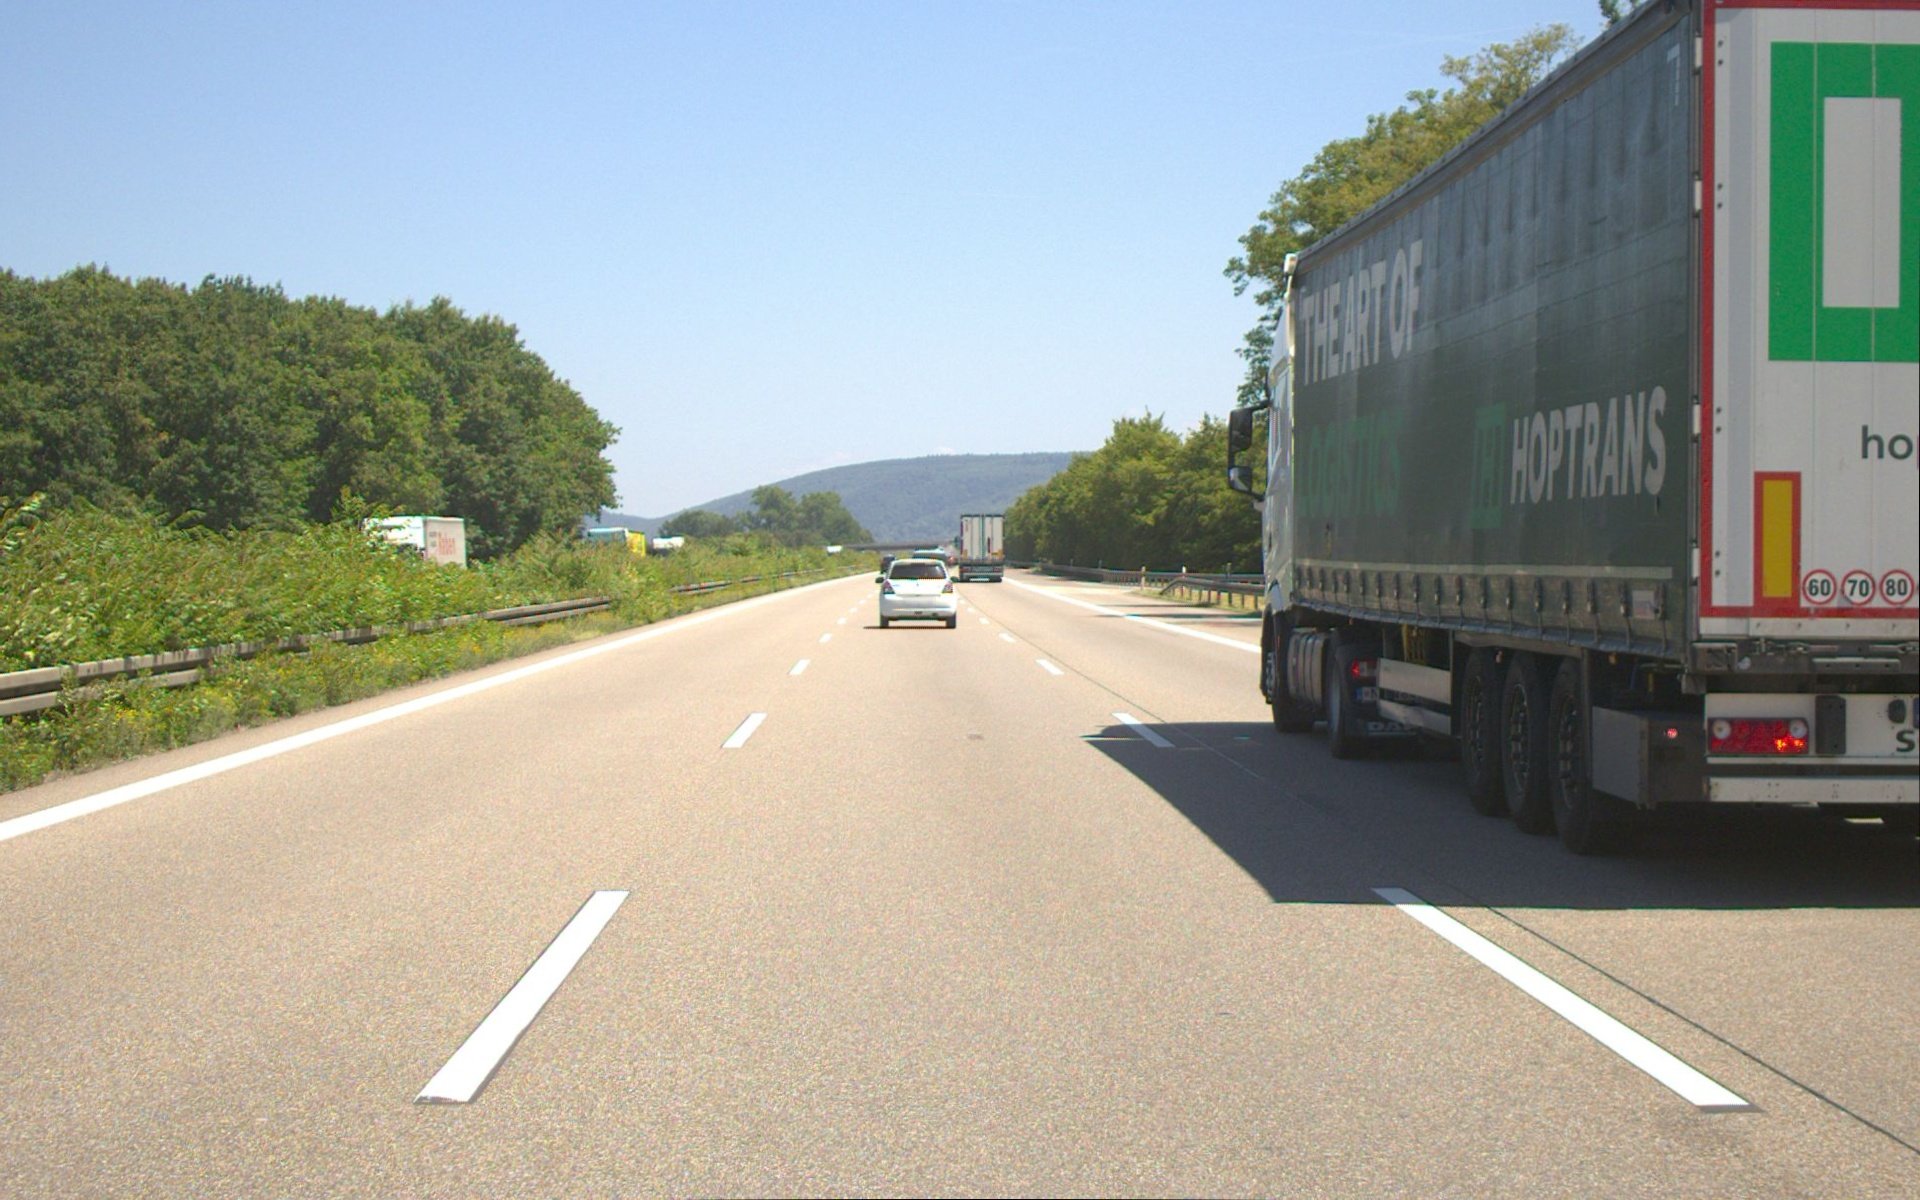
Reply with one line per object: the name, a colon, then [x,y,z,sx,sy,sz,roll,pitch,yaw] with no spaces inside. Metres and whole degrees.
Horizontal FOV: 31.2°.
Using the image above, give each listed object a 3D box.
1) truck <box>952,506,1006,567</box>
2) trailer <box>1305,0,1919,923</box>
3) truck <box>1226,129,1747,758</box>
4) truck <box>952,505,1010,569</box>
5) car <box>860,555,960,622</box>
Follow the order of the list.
truck: [1.167,-3.948,215.075,3.325,3.744,5.400,0,1,-1]
trailer: [4.288,-1.098,20.085,3.182,4.611,12.051,-1,1,0]
truck: [4.152,-1.212,28.530,3.182,4.591,5.948,-1,1,-1]
truck: [1.224,-3.836,209.268,3.325,3.744,12.796,0,1,-1]
car: [-1.127,-0.274,75.844,1.811,1.400,3.318,-1,1,-8]
